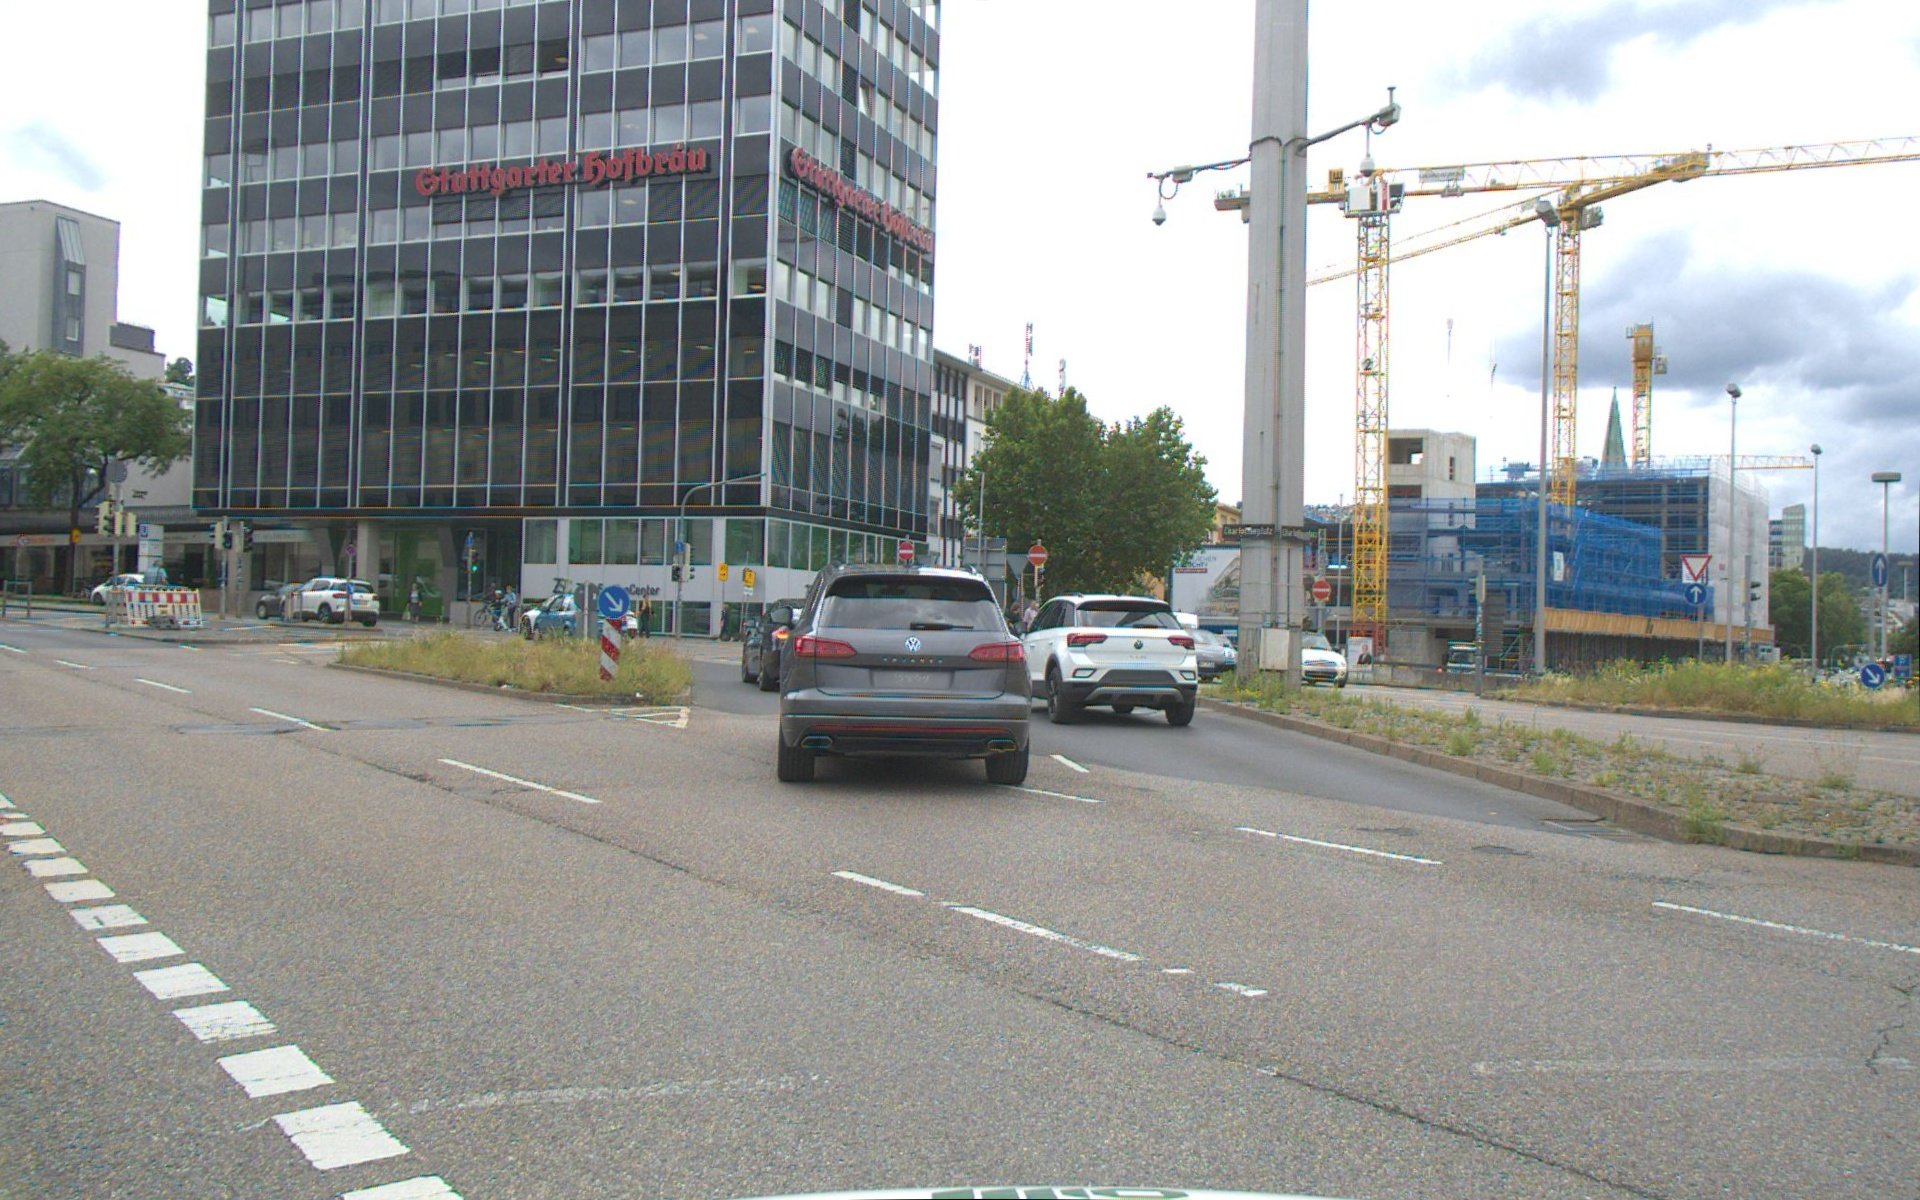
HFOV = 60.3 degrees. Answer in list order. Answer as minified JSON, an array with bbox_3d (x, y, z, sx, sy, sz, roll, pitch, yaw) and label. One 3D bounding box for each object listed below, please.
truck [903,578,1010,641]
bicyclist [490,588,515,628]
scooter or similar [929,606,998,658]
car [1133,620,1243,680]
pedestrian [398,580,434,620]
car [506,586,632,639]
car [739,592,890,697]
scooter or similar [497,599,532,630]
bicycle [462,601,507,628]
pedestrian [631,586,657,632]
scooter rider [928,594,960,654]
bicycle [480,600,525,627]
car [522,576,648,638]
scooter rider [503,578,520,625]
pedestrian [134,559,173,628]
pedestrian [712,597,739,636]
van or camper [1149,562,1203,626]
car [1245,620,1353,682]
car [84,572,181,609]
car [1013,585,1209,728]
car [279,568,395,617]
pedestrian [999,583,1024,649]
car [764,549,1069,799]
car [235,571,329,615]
[{"bbox_3d":[-0.082,0.589,89.443,2.292,3.117,8.190,2,-1,26],"label":"truck"},{"bbox_3d":[-18.434,0.308,66.585,0.826,1.576,0.565,1,0,-2],"label":"bicyclist"},{"bbox_3d":[0.102,0.940,48.632,1.842,1.431,0.777,2,-1,11],"label":"scooter or similar"},{"bbox_3d":[5.533,1.182,40.570,1.639,1.286,4.050,0,1,-8],"label":"car"},{"bbox_3d":[-23.104,0.007,70.267,0.940,1.662,1.067,2,0,20],"label":"pedestrian"},{"bbox_3d":[-12.498,0.395,52.828,3.686,1.544,1.834,2,0,31],"label":"car"},{"bbox_3d":[-2.407,0.648,26.431,1.802,1.419,4.134,4,0,-12],"label":"car"},{"bbox_3d":[-17.643,0.557,65.510,1.297,1.196,0.591,1,0,-15],"label":"scooter or similar"},{"bbox_3d":[-20.072,0.606,69.766,1.726,1.024,0.681,4,2,20],"label":"bicycle"},{"bbox_3d":[-12.311,0.348,64.399,0.783,1.727,0.548,2,1,21],"label":"pedestrian"},{"bbox_3d":[-0.464,0.707,48.745,0.728,1.723,0.767,2,-1,11],"label":"scooter rider"},{"bbox_3d":[-18.416,0.533,66.590,1.631,1.045,0.581,1,0,-2],"label":"bicycle"},{"bbox_3d":[-10.178,0.162,44.735,1.821,1.544,3.713,1,1,-40],"label":"car"},{"bbox_3d":[-17.753,0.062,65.476,0.631,1.840,0.591,1,0,-15],"label":"scooter rider"},{"bbox_3d":[-21.827,-0.185,44.766,0.620,1.821,0.717,3,3,27],"label":"pedestrian"},{"bbox_3d":[-9.103,0.636,64.166,0.819,1.468,0.606,2,0,23],"label":"pedestrian"},{"bbox_3d":[9.219,-0.244,70.157,2.094,2.520,6.166,2,0,8],"label":"van or camper"},{"bbox_3d":[9.037,1.334,44.397,1.691,1.443,3.642,3,0,-7],"label":"car"},{"bbox_3d":[-35.713,-0.419,71.325,4.248,1.443,2.054,2,1,37],"label":"car"},{"bbox_3d":[1.824,0.642,21.167,1.762,1.572,3.931,2,1,-5],"label":"car"},{"bbox_3d":[-21.614,-0.264,57.353,3.686,1.594,1.834,2,0,31],"label":"car"},{"bbox_3d":[1.565,0.490,50.542,0.627,1.989,0.611,2,-1,7],"label":"pedestrian"},{"bbox_3d":[-0.539,0.493,13.742,1.934,1.725,4.215,2,1,-10],"label":"car"},{"bbox_3d":[-26.635,-0.286,64.944,3.929,1.601,1.855,2,1,42],"label":"car"}]
